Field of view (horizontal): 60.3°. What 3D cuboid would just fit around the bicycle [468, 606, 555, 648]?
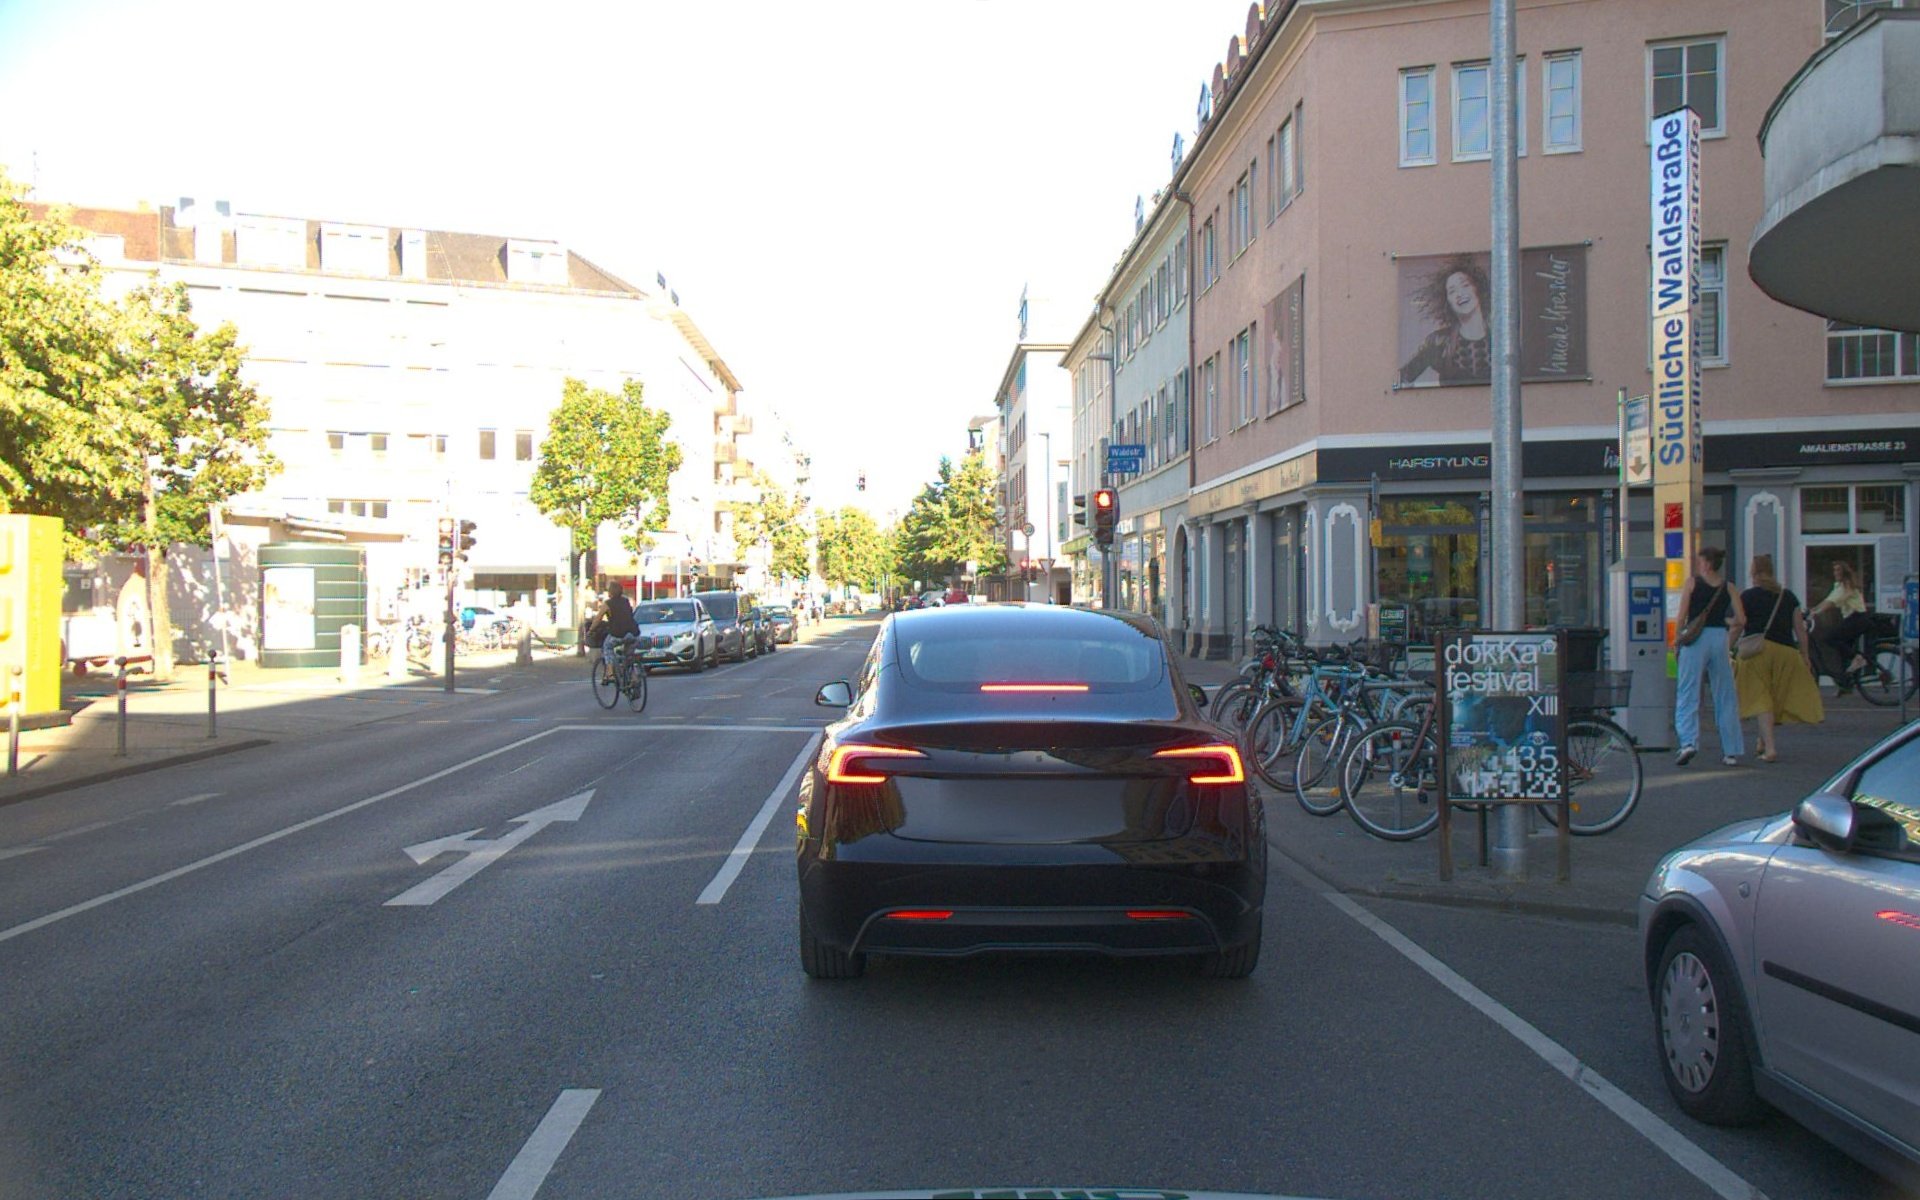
[{"bbox_3d":[-14.060,0.848,51.908,2.491,1.273,0.942,1,0,-4],"label":"bicycle"}]

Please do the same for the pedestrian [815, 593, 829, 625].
[{"bbox_3d":[-8.175,0.542,98.232,0.759,1.900,1.007,1,-1,-7],"label":"pedestrian"}]

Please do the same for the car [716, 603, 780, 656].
[{"bbox_3d":[-6.335,0.851,49.682,1.431,1.455,3.605,-3,0,-1],"label":"car"}]

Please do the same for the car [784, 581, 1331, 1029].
[{"bbox_3d":[0.299,0.697,7.762,1.812,1.472,4.450,1,0,-1],"label":"car"}]

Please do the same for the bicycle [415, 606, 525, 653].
[{"bbox_3d":[-13.999,0.829,47.315,2.818,1.292,0.942,1,0,-4],"label":"bicycle"}]

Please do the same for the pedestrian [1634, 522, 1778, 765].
[{"bbox_3d":[6.069,0.348,13.496,0.667,1.882,0.893,-3,-1,1],"label":"pedestrian"}]

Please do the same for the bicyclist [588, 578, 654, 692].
[{"bbox_3d":[-4.594,0.465,22.363,0.599,1.510,0.949,1,-1,-29],"label":"bicyclist"}]

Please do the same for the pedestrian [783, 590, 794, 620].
[{"bbox_3d":[-10.764,0.311,103.705,0.681,1.900,0.658,1,-1,-6],"label":"pedestrian"}]

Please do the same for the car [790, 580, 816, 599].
[{"bbox_3d":[-17.013,-1.131,179.397,2.228,2.049,4.717,1,0,0],"label":"car"}]

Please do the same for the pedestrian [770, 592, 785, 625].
[{"bbox_3d":[-10.742,0.493,97.108,0.721,1.900,0.787,1,-1,-17],"label":"pedestrian"}]

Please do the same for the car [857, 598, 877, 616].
[{"bbox_3d":[-10.496,0.827,186.957,2.089,2.004,4.133,0,0,-1],"label":"car"}]

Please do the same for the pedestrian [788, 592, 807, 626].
[{"bbox_3d":[-9.265,0.508,94.453,0.719,1.900,0.790,1,-1,28],"label":"pedestrian"}]

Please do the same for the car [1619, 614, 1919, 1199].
[{"bbox_3d":[2.920,0.778,3.528,1.551,1.451,3.579,1,0,-1],"label":"car"}]

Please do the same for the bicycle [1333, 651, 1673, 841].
[{"bbox_3d":[3.278,0.871,10.081,1.844,1.062,0.653,-1,0,0],"label":"bicycle"}]

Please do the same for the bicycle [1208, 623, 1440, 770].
[{"bbox_3d":[2.978,0.780,13.630,1.776,1.172,0.653,0,0,0],"label":"bicycle"}]

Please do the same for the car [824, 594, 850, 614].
[{"bbox_3d":[-12.340,0.393,166.253,2.365,2.004,4.677,0,0,-1],"label":"car"}]

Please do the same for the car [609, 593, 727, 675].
[{"bbox_3d":[-6.322,0.708,36.228,1.788,1.592,4.299,-4,0,-1],"label":"car"}]

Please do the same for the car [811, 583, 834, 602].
[{"bbox_3d":[-15.596,-0.819,188.053,2.228,2.049,4.717,1,0,0],"label":"car"}]

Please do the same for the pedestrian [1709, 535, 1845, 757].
[{"bbox_3d":[6.858,0.378,13.918,0.706,1.785,0.788,-2,-1,4],"label":"pedestrian"}]

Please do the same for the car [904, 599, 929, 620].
[{"bbox_3d":[-3.951,0.863,151.467,1.992,1.819,4.008,0,0,3],"label":"car"}]

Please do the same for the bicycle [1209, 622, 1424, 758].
[{"bbox_3d":[3.162,0.788,14.767,1.776,1.172,0.653,0,0,0],"label":"bicycle"}]

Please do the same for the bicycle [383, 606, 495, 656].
[{"bbox_3d":[-14.123,0.842,44.914,2.725,1.296,0.932,1,0,-4],"label":"bicycle"}]

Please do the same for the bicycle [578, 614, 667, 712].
[{"bbox_3d":[-4.557,0.832,22.252,0.621,1.244,1.982,-1,-1,-28],"label":"bicycle"}]

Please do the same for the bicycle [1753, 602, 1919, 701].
[{"bbox_3d":[11.064,0.645,20.722,1.912,1.178,0.576,-2,-1,16],"label":"bicycle"}]

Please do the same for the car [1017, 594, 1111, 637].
[{"bbox_3d":[4.714,0.699,74.731,3.937,1.900,1.686,0,0,-22],"label":"car"}]

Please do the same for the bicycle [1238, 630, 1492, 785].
[{"bbox_3d":[3.049,0.802,12.557,1.776,1.121,0.653,0,0,0],"label":"bicycle"}]

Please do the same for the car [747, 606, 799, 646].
[{"bbox_3d":[-6.898,0.930,61.382,1.660,1.414,3.913,1,0,-3],"label":"car"}]

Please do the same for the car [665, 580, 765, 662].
[{"bbox_3d":[-6.230,0.504,42.556,1.906,1.981,4.819,0,0,-1],"label":"car"}]

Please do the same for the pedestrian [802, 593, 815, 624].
[{"bbox_3d":[-9.300,0.536,101.494,0.683,1.900,0.907,1,-1,-12],"label":"pedestrian"}]

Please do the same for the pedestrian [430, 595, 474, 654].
[{"bbox_3d":[-14.239,0.684,46.349,1.077,1.639,1.259,1,0,-21],"label":"pedestrian"}]

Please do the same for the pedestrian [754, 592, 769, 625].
[{"bbox_3d":[-11.589,0.477,96.737,0.721,1.900,0.787,1,-1,-17],"label":"pedestrian"}]

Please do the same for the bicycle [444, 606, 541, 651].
[{"bbox_3d":[-14.009,0.844,49.634,2.609,1.281,0.942,1,0,-4],"label":"bicycle"}]

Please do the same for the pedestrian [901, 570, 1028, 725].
[{"bbox_3d":[0.059,0.537,19.412,1.089,1.750,1.060,1,-1,30],"label":"pedestrian"}]

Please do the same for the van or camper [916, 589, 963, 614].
[{"bbox_3d":[-2.064,0.169,167.510,4.752,2.481,1.850,0,0,-1],"label":"van or camper"}]

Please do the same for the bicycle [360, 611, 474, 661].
[{"bbox_3d":[-13.949,0.923,42.577,2.607,1.216,0.942,1,0,-4],"label":"bicycle"}]

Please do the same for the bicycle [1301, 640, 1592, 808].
[{"bbox_3d":[3.249,0.819,11.153,1.776,1.078,0.653,0,0,0],"label":"bicycle"}]

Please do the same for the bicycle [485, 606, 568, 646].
[{"bbox_3d":[-14.226,0.856,54.330,2.491,1.273,0.942,1,0,-4],"label":"bicycle"}]

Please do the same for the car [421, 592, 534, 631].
[{"bbox_3d":[-21.534,0.504,73.818,4.638,1.455,1.722,-4,0,-25],"label":"car"}]

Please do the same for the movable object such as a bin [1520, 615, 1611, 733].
[{"bbox_3d":[6.042,0.728,16.532,0.623,1.122,0.728,-2,0,3],"label":"movable object such as a bin"}]

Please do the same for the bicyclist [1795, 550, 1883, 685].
[{"bbox_3d":[11.012,0.220,20.735,0.808,1.642,0.580,-2,0,15],"label":"bicyclist"}]

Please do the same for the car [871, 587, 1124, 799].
[{"bbox_3d":[0.242,0.683,14.186,1.812,1.507,4.450,1,0,-1],"label":"car"}]
